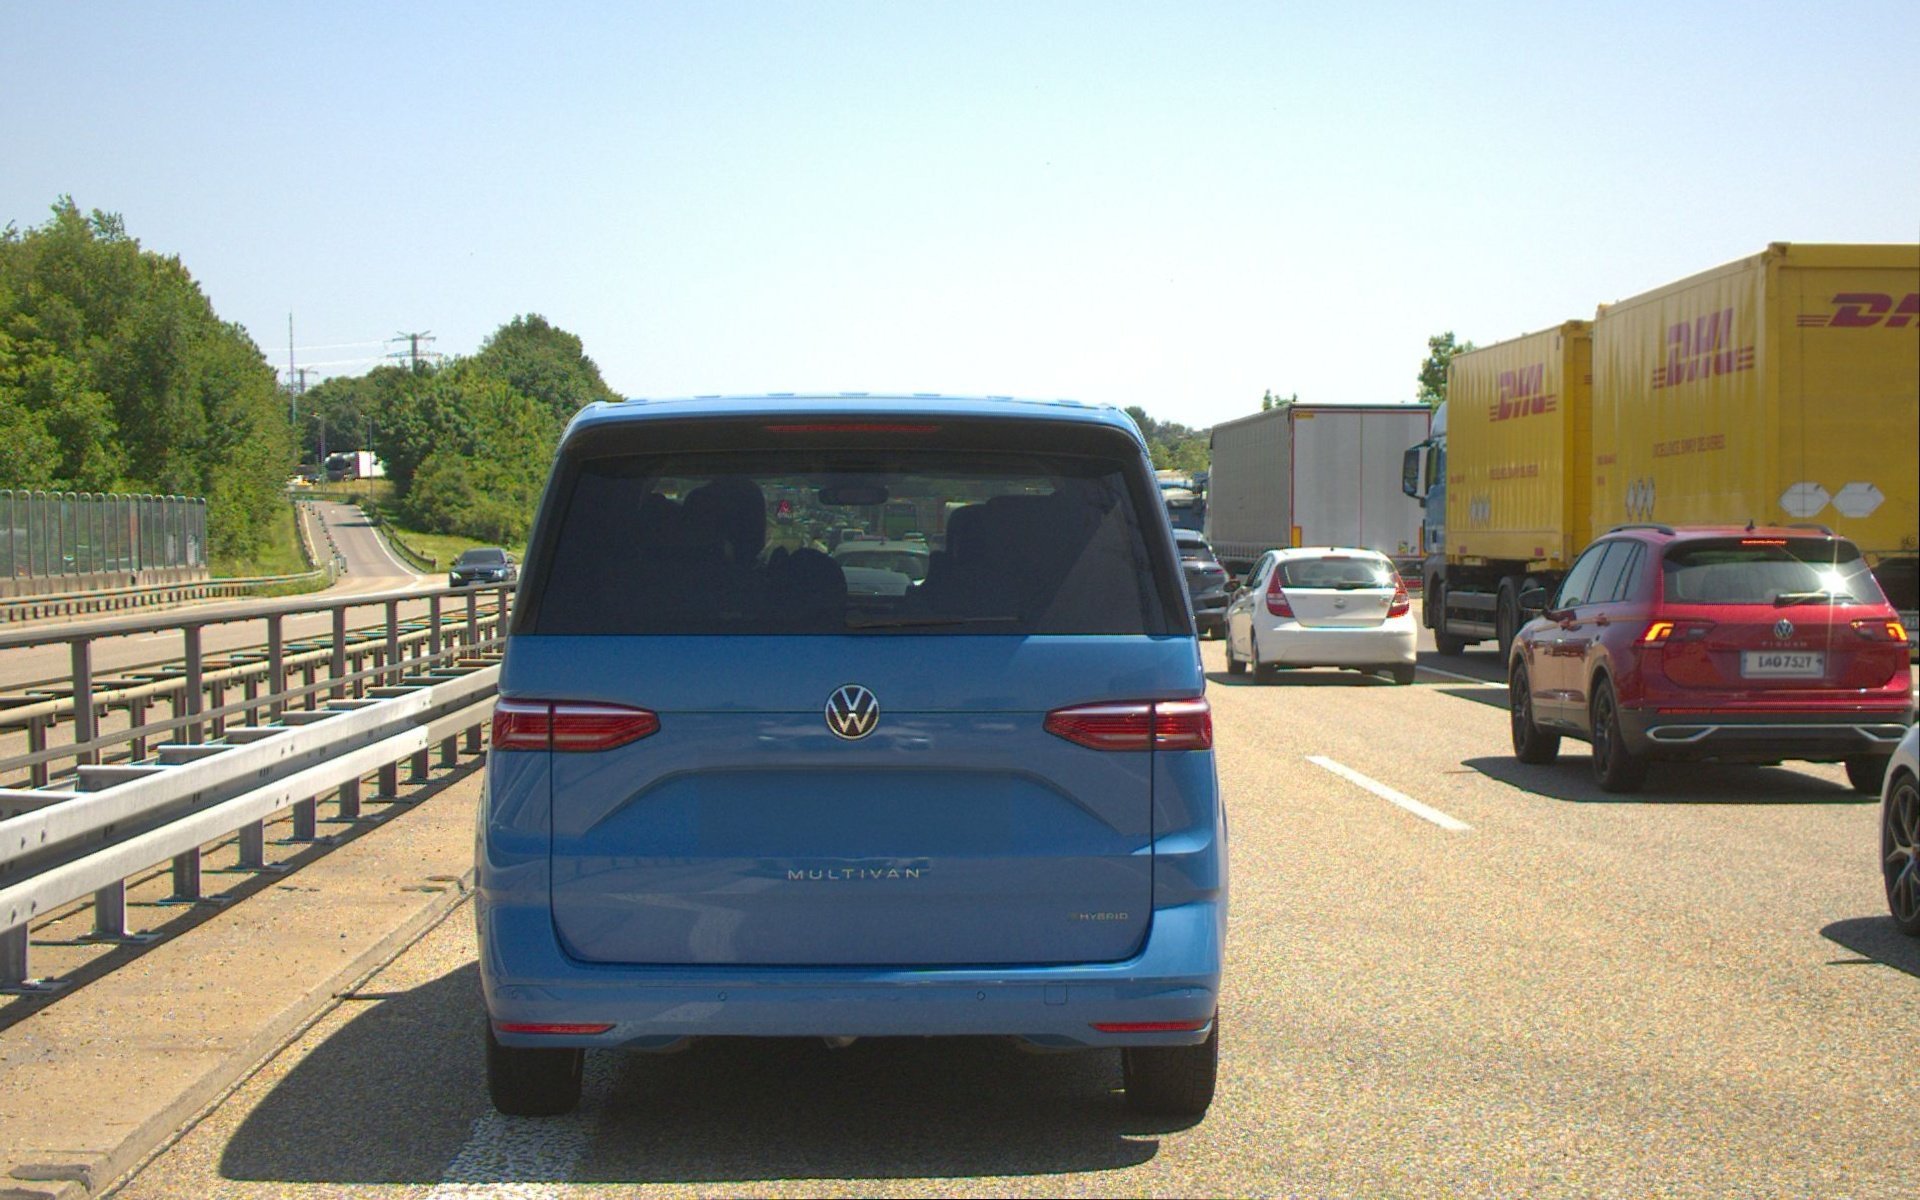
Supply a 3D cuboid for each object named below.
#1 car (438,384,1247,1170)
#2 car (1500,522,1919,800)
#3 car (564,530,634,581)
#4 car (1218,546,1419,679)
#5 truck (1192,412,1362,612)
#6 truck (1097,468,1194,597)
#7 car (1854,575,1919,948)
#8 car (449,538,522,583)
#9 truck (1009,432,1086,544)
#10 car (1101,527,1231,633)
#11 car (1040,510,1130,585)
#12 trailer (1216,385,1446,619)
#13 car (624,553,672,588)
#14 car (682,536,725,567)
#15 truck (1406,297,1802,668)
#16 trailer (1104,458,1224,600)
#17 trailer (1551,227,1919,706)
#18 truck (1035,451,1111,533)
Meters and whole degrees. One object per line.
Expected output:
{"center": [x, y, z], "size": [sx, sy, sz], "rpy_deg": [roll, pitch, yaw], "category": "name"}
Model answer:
{"center": [-0.309, 0.380, 10.014], "size": [1.882, 1.831, 4.000], "rpy_deg": [0, 1, -1], "category": "car"}
{"center": [4.728, 0.316, 21.953], "size": [1.851, 1.603, 4.000], "rpy_deg": [0, 1, -1], "category": "car"}
{"center": [-11.257, -1.388, 107.450], "size": [1.840, 1.524, 3.558], "rpy_deg": [-2, 1, -1], "category": "car"}
{"center": [3.967, 0.099, 38.583], "size": [1.838, 1.409, 4.000], "rpy_deg": [0, 1, 0], "category": "car"}
{"center": [6.773, -1.858, 74.419], "size": [2.768, 4.081, 6.985], "rpy_deg": [1, 1, -2], "category": "truck"}
{"center": [5.512, -1.974, 102.798], "size": [2.367, 3.709, 6.034], "rpy_deg": [1, 0, -2], "category": "truck"}
{"center": [4.510, 0.630, 11.565], "size": [1.781, 1.382, 4.188], "rpy_deg": [0, 1, -2], "category": "car"}
{"center": [-15.094, -1.259, 109.576], "size": [1.800, 1.381, 4.263], "rpy_deg": [1, 0, -1], "category": "car"}
{"center": [4.109, -5.258, 163.811], "size": [2.833, 5.023, 11.147], "rpy_deg": [1, 0, -3], "category": "truck"}
{"center": [3.175, -0.297, 53.543], "size": [1.715, 1.581, 3.821], "rpy_deg": [0, 0, -1], "category": "car"}
{"center": [2.683, -1.145, 74.640], "size": [1.715, 1.535, 3.821], "rpy_deg": [-1, 1, -1], "category": "car"}
{"center": [7.034, -1.788, 67.003], "size": [2.754, 4.132, 11.313], "rpy_deg": [1, 0, -2], "category": "trailer"}
{"center": [-12.166, -1.151, 134.119], "size": [1.583, 1.294, 3.892], "rpy_deg": [-1, 1, -1], "category": "car"}
{"center": [-12.410, -2.326, 166.660], "size": [1.842, 1.441, 4.419], "rpy_deg": [1, 0, -1], "category": "car"}
{"center": [7.766, -1.332, 43.038], "size": [2.722, 4.040, 10.337], "rpy_deg": [1, 0, -1], "category": "truck"}
{"center": [5.672, -1.943, 97.164], "size": [2.379, 3.731, 11.189], "rpy_deg": [1, 0, -2], "category": "trailer"}
{"center": [7.994, -1.148, 33.397], "size": [2.701, 4.010, 8.931], "rpy_deg": [1, 0, -1], "category": "trailer"}
{"center": [4.687, -4.473, 144.250], "size": [2.355, 3.207, 9.742], "rpy_deg": [1, 0, -3], "category": "truck"}
